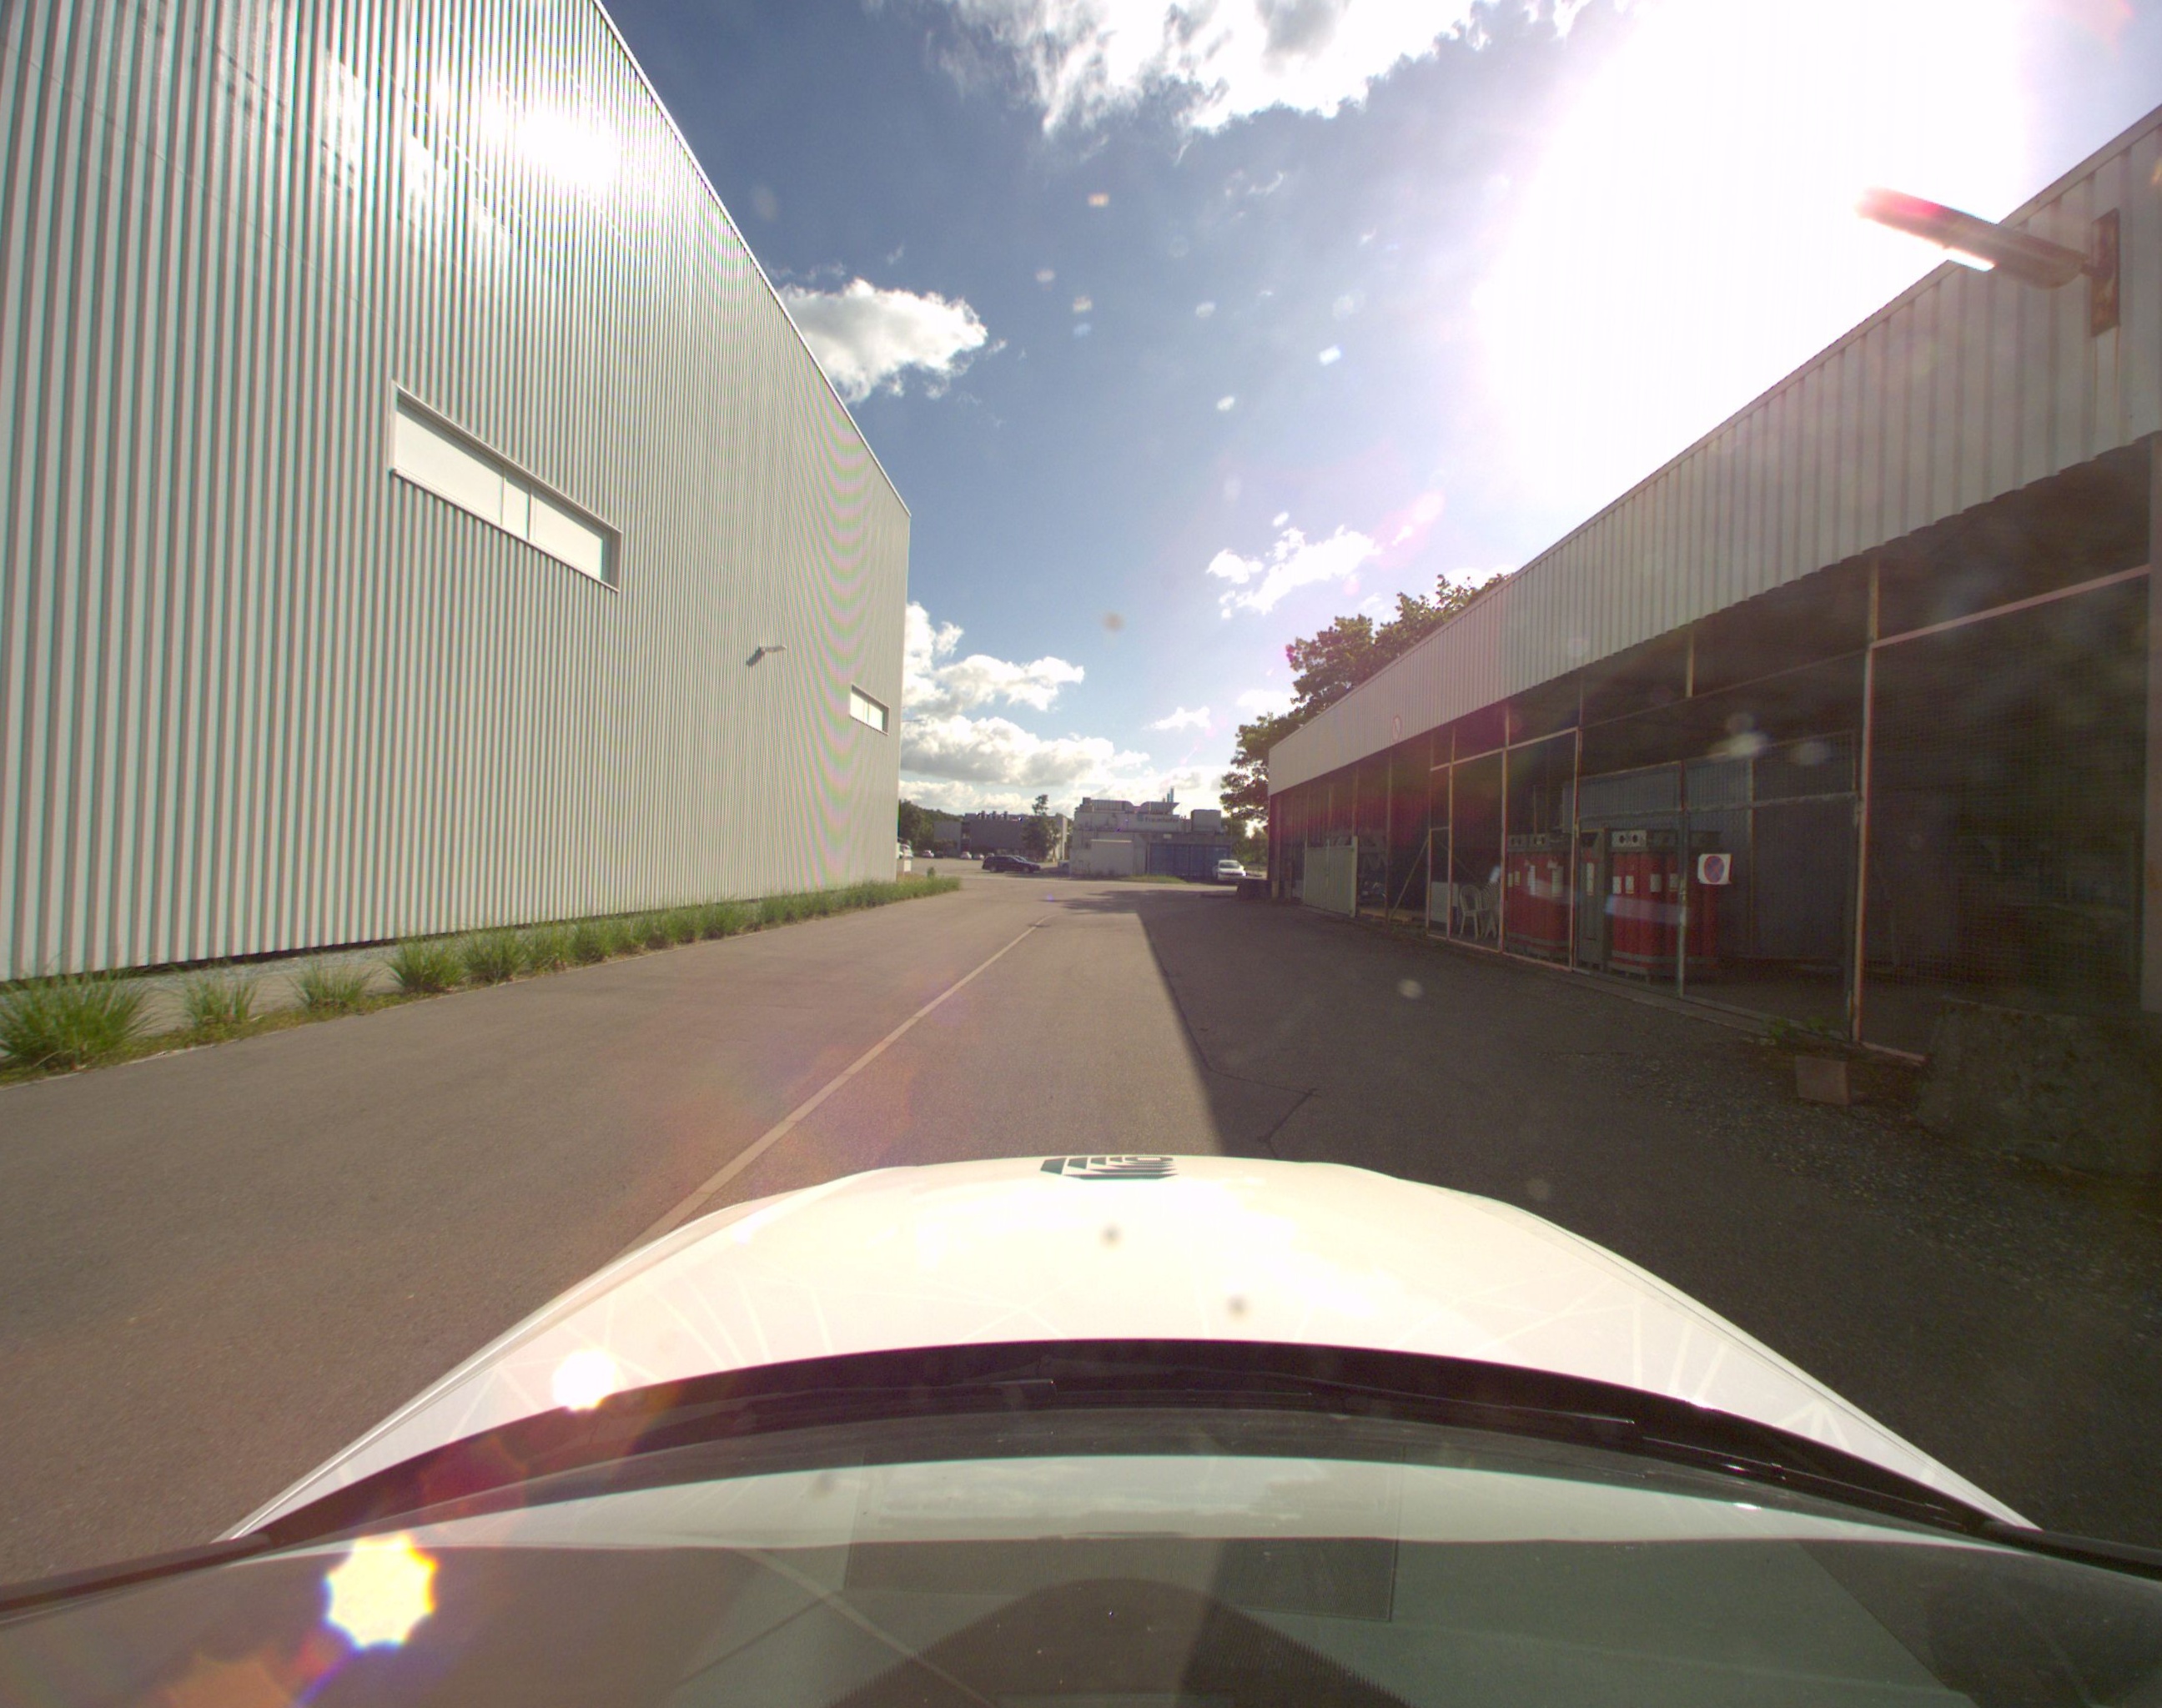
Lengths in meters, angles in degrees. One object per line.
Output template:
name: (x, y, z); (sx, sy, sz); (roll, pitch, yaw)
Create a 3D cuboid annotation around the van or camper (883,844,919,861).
van or camper: (-31.642, -0.295, 143.037); (5.696, 2.928, 2.473); (1, 0, 0)

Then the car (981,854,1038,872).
car: (-5.992, 0.750, 68.725); (4.506, 1.508, 1.911); (1, 0, 4)

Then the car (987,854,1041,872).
car: (-5.884, 0.786, 71.962); (4.506, 1.508, 1.911); (1, 0, 4)

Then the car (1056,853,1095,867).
car: (-0.657, 0.717, 96.195); (4.507, 1.508, 1.910); (1, 0, 3)

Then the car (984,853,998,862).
car: (-18.383, 0.665, 166.308); (2.185, 1.736, 4.001); (0, -1, 2)

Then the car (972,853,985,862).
car: (-20.973, 0.704, 166.038); (1.986, 1.736, 4.001); (0, -1, 2)

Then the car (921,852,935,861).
car: (-31.272, 0.536, 166.246); (1.986, 1.736, 4.001); (0, -1, 2)

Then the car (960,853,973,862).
car: (-23.444, 0.720, 166.461); (1.986, 1.736, 4.001); (0, -1, 2)

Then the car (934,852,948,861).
car: (-28.479, 0.522, 166.110); (1.986, 1.736, 4.001); (0, -1, 2)

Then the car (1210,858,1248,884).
car: (10.027, 1.129, 55.489); (1.986, 1.585, 4.175); (1, 1, 2)

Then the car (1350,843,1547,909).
car: (11.244, 0.650, 25.141); (5.226, 1.876, 1.997); (1, 0, -4)
